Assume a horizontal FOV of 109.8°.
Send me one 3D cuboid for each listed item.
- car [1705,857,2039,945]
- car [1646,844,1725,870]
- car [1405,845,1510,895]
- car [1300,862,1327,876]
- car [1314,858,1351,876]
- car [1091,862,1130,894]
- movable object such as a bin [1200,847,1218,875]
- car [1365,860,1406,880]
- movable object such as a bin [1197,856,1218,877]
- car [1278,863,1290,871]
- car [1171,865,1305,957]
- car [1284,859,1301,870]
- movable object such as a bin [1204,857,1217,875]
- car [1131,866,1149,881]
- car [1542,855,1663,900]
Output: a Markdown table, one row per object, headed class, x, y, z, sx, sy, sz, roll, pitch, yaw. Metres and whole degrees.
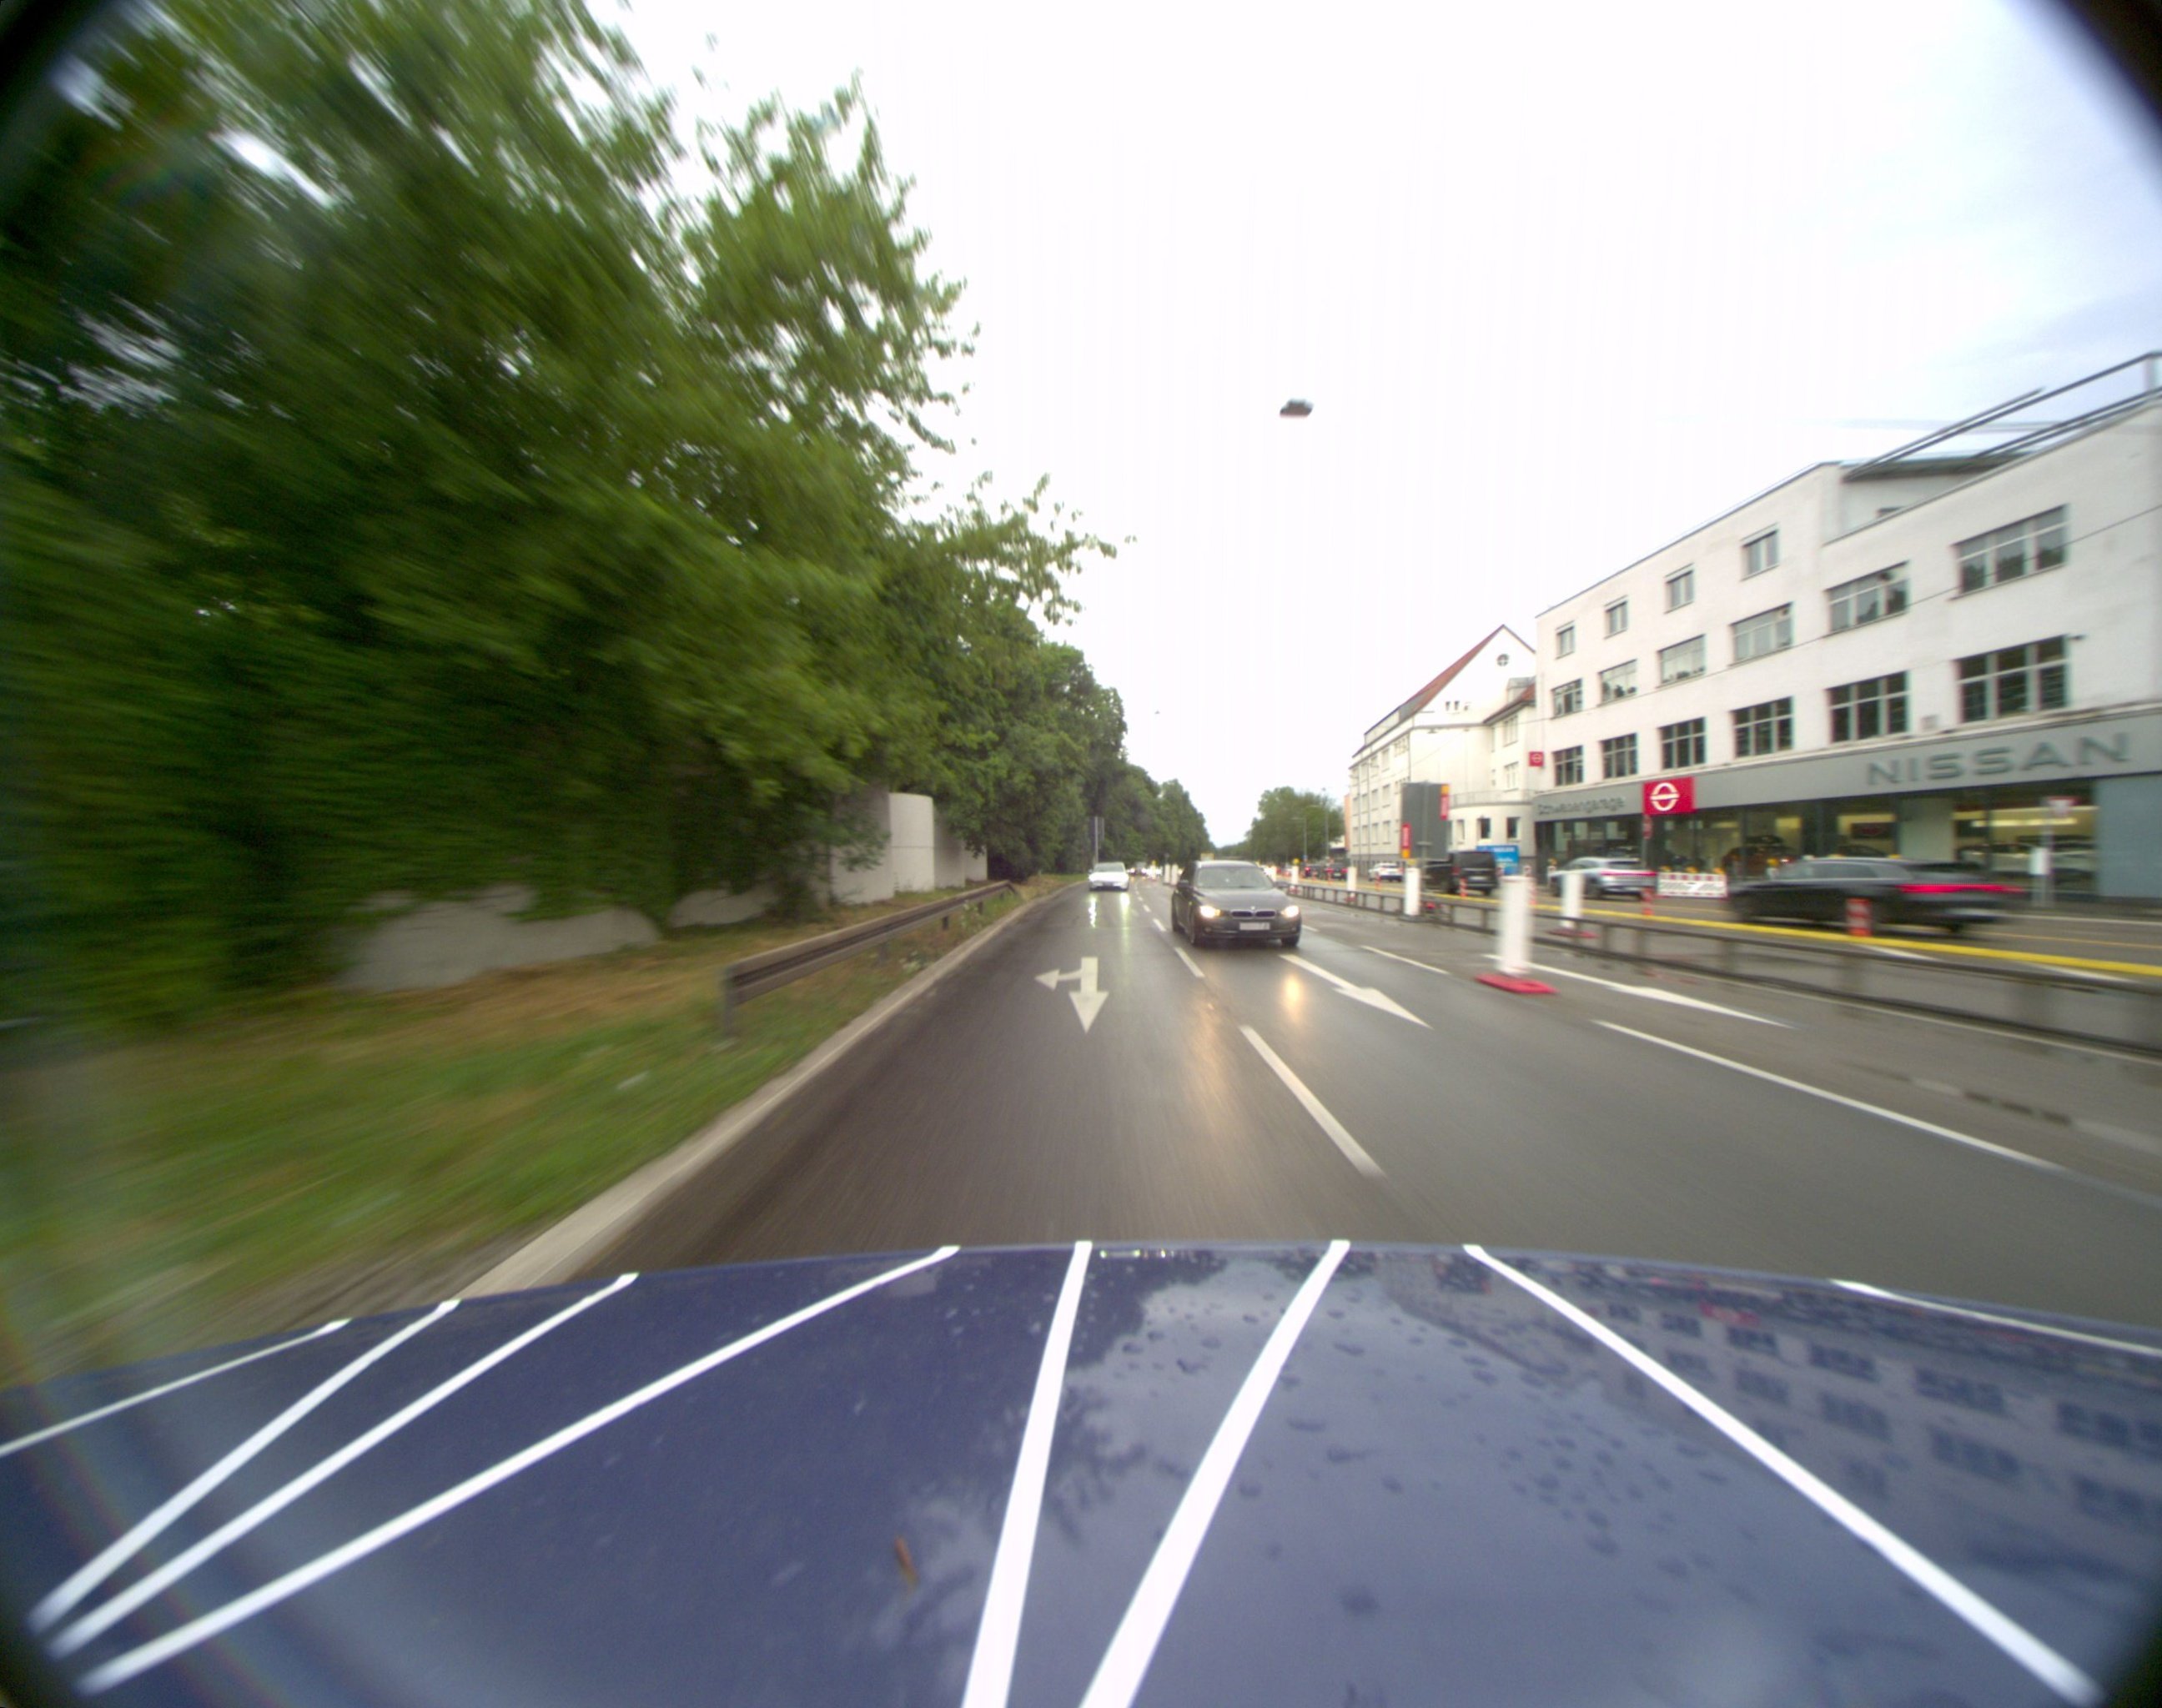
| class | x | y | z | sx | sy | sz | roll | pitch | yaw |
| --- | --- | --- | --- | --- | --- | --- | --- | --- | --- |
| car | 15.365 | 0.818 | 15.268 | 1.856 | 1.457 | 4.707 | 0 | 0 | 1 |
| car | 42.801 | 0.220 | 53.874 | 3.958 | 1.820 | 1.791 | 0 | 0 | 9 |
| car | 15.903 | 0.625 | 32.453 | 1.998 | 1.925 | 5.231 | 1 | 0 | 1 |
| car | 23.247 | 1.473 | 75.995 | 1.801 | 1.379 | 3.806 | 0 | 0 | 4 |
| car | 21.035 | 1.058 | 63.642 | 1.801 | 1.343 | 4.813 | 0 | 0 | 4 |
| car | 1.440 | 1.171 | 38.257 | 1.839 | 1.424 | 4.273 | 0 | 0 | 0 |
| movable object such as a bin | 13.738 | 0.765 | 81.972 | 1.825 | 2.895 | 3.610 | 1 | -1 | 9 |
| car | 24.114 | 1.223 | 60.375 | 1.787 | 1.499 | 4.524 | 0 | 0 | 5 |
| movable object such as a bin | 12.820 | 1.247 | 77.161 | 1.997 | 2.099 | 3.852 | 0 | -1 | 9 |
| car | 41.640 | 2.663 | 156.182 | 1.997 | 1.575 | 4.214 | 0 | -1 | 10 |
| car | 2.733 | 0.928 | 14.102 | 1.763 | 1.441 | 4.179 | 0 | -1 | 2 |
| car | 28.817 | 1.456 | 103.547 | 1.704 | 1.455 | 4.121 | 2 | 0 | 8 |
| movable object such as a bin | 15.184 | 1.424 | 89.121 | 1.398 | 2.032 | 4.089 | 0 | -1 | 9 |
| car | 7.227 | 2.355 | 93.015 | 1.998 | 1.739 | 4.001 | 0 | 0 | 3 |
| car | 19.591 | 0.827 | 28.771 | 1.751 | 1.576 | 4.265 | 0 | 0 | 2 |
